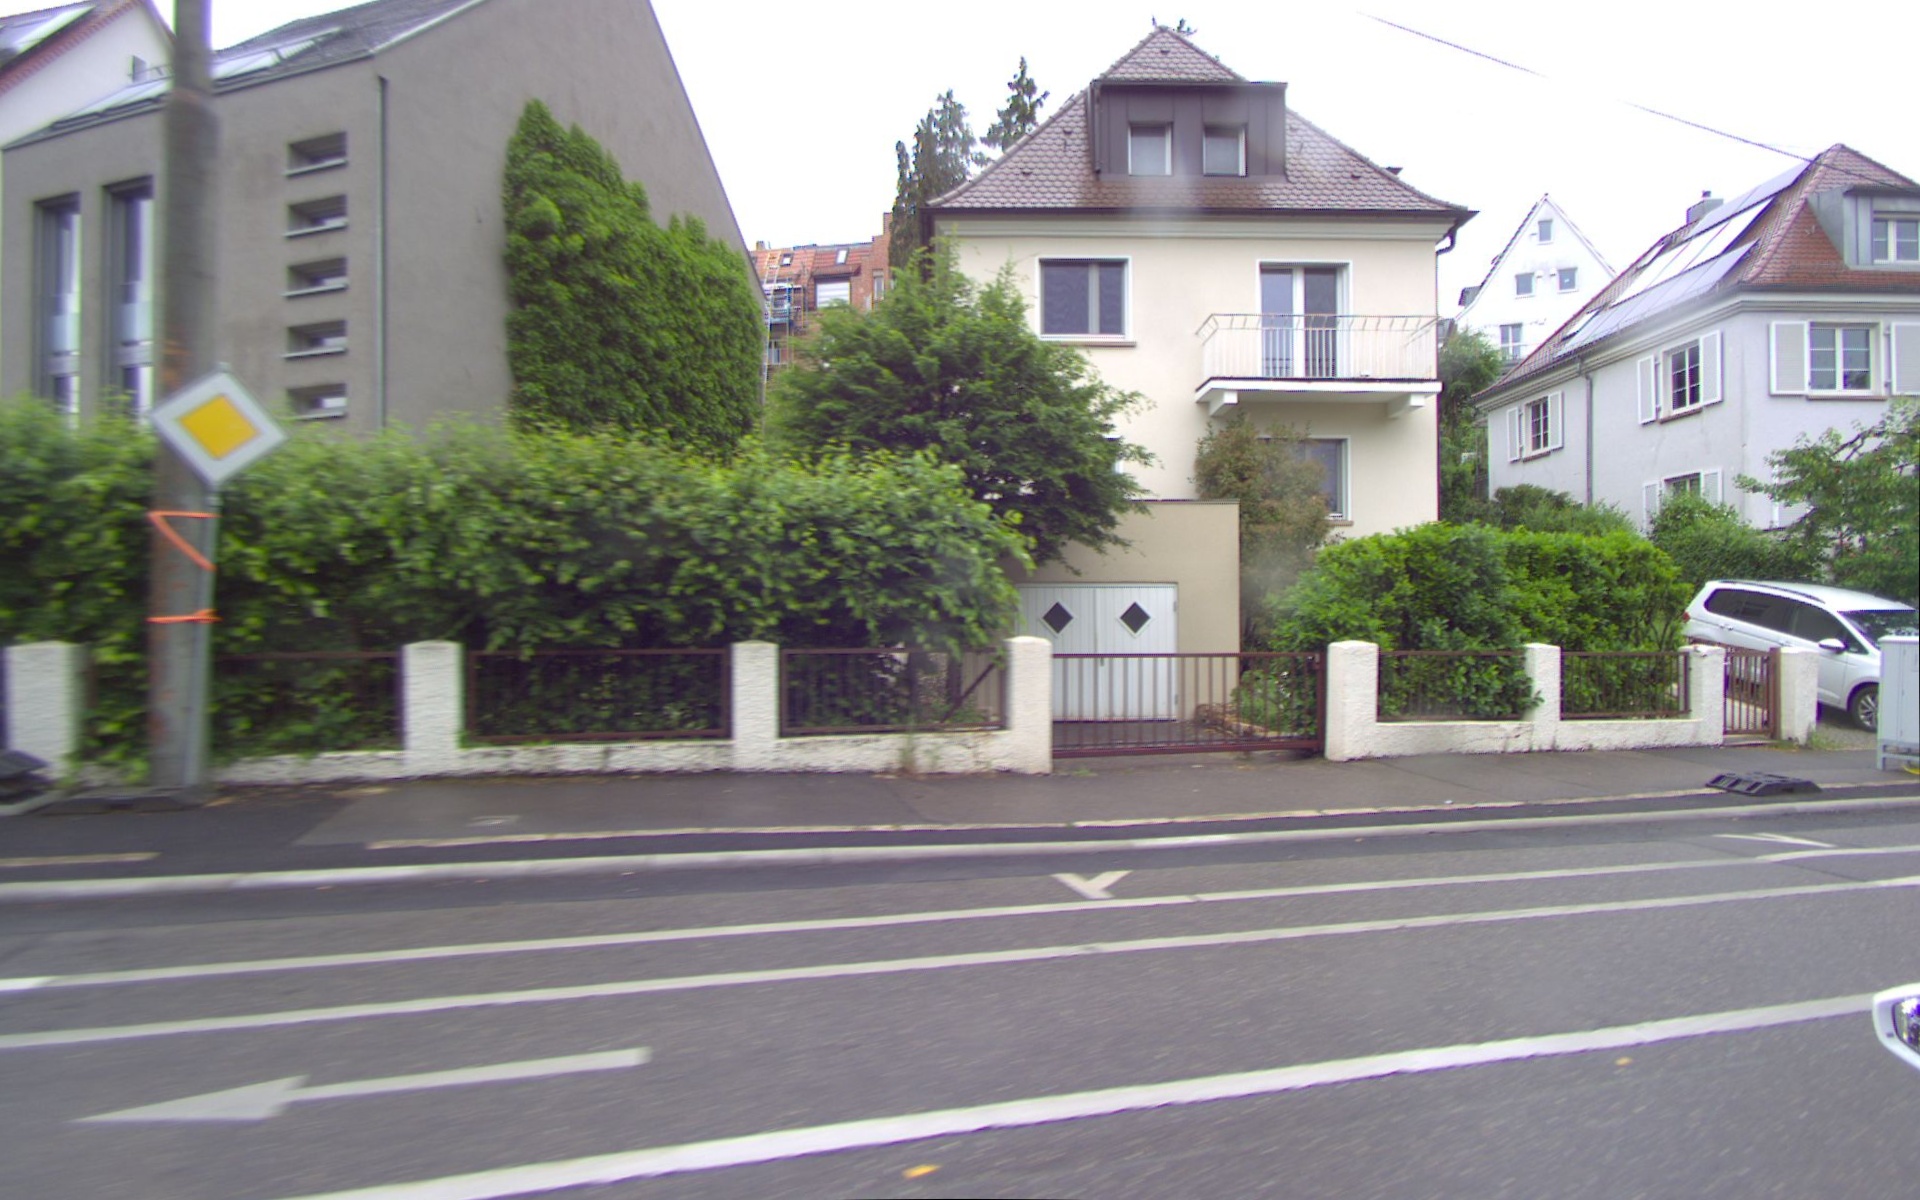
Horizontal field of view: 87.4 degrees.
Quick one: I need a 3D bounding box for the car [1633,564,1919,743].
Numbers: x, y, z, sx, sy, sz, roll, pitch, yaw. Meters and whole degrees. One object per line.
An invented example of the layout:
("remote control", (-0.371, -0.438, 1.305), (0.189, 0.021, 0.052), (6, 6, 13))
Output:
("car", (12.851, 0.615, 14.972), (1.829, 1.640, 4.971), (0, 9, -6))
